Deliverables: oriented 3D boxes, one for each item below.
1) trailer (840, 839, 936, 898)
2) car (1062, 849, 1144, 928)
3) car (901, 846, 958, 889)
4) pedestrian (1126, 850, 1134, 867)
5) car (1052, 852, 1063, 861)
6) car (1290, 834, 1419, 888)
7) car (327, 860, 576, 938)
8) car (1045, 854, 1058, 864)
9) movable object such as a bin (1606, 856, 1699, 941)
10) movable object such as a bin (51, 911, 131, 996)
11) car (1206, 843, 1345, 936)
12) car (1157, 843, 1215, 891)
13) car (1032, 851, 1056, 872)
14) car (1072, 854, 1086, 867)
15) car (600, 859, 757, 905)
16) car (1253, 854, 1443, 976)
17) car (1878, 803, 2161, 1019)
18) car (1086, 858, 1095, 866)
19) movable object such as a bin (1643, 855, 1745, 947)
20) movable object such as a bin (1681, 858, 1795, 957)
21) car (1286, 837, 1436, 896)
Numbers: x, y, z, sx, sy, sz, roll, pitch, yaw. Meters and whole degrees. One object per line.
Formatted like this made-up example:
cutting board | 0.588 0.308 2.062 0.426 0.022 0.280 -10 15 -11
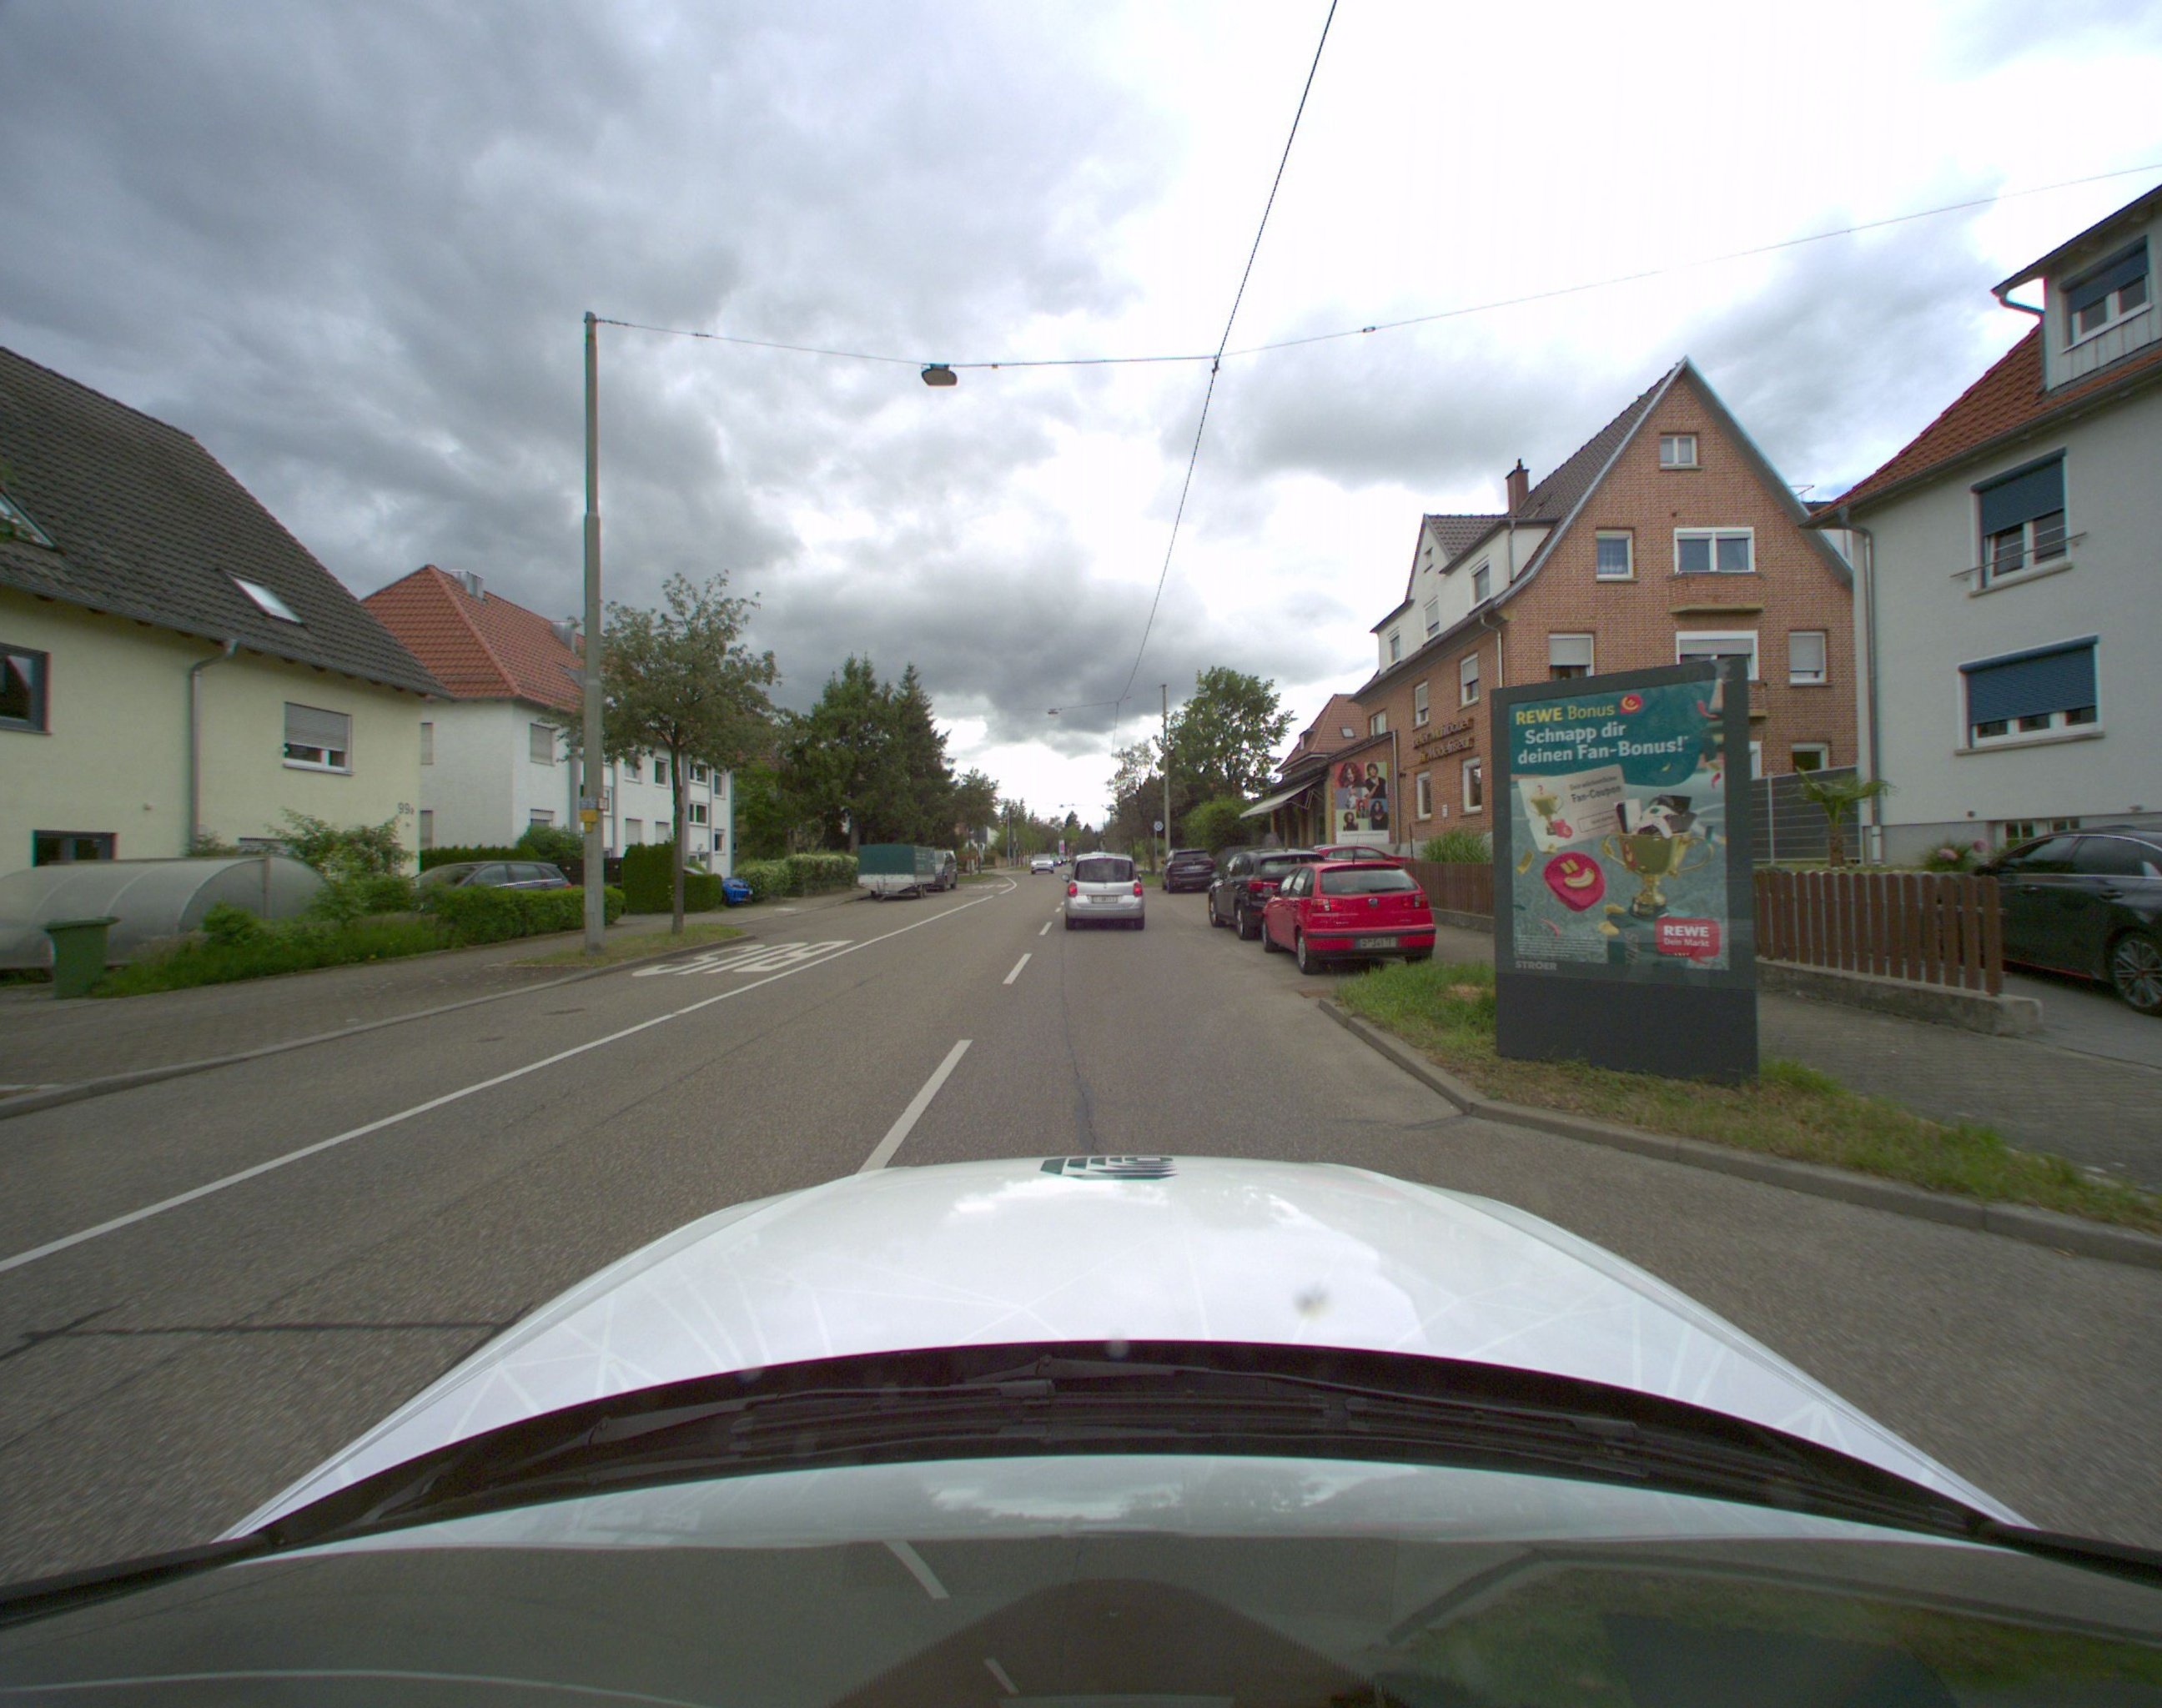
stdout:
trailer | -7.316 0.564 31.628 2.305 2.087 5.871 0 -1 0
car | 0.503 0.713 18.153 1.624 1.557 4.001 0 -1 2
car | -7.213 0.637 39.211 1.882 1.922 4.560 0 -1 0
pedestrian | 4.815 0.464 80.602 0.703 1.647 0.773 -1 0 0
car | -3.874 0.409 134.405 1.717 1.411 3.996 0 -1 -2
car | 9.571 0.225 28.616 3.981 1.560 1.500 -4 0 -5
car | -12.820 0.854 16.964 1.869 1.417 4.004 0 -1 4
car | -4.197 0.709 116.544 1.717 1.411 3.996 0 -1 -2
movable object such as a bin | 7.776 0.594 11.113 0.773 1.104 0.691 -1 0 0
movable object such as a bin | -11.645 1.152 9.596 0.571 0.902 0.549 -1 -1 45
car | 3.615 0.595 15.856 1.658 1.564 4.096 -1 0 -1
car | 4.177 0.535 32.894 1.806 1.743 4.000 -2 -1 0
car | -3.113 0.644 67.136 1.902 1.618 3.994 0 -1 -4
car | -0.313 0.931 115.781 1.822 1.675 3.575 -1 0 1
car | -12.288 0.868 25.060 3.986 1.338 1.573 0 -2 -9
car | 3.578 0.729 11.584 1.655 1.393 3.671 -2 0 3
car | 9.093 0.340 6.888 1.802 1.380 4.506 -6 0 24
car | 2.036 1.708 178.605 1.822 1.675 3.575 -1 0 1
movable object such as a bin | 7.785 0.582 10.374 0.773 1.104 0.691 -1 0 0
movable object such as a bin | 7.734 0.607 9.616 0.773 1.104 0.691 -1 0 0
car | 8.655 0.373 25.340 3.984 1.496 1.805 -4 0 -8
